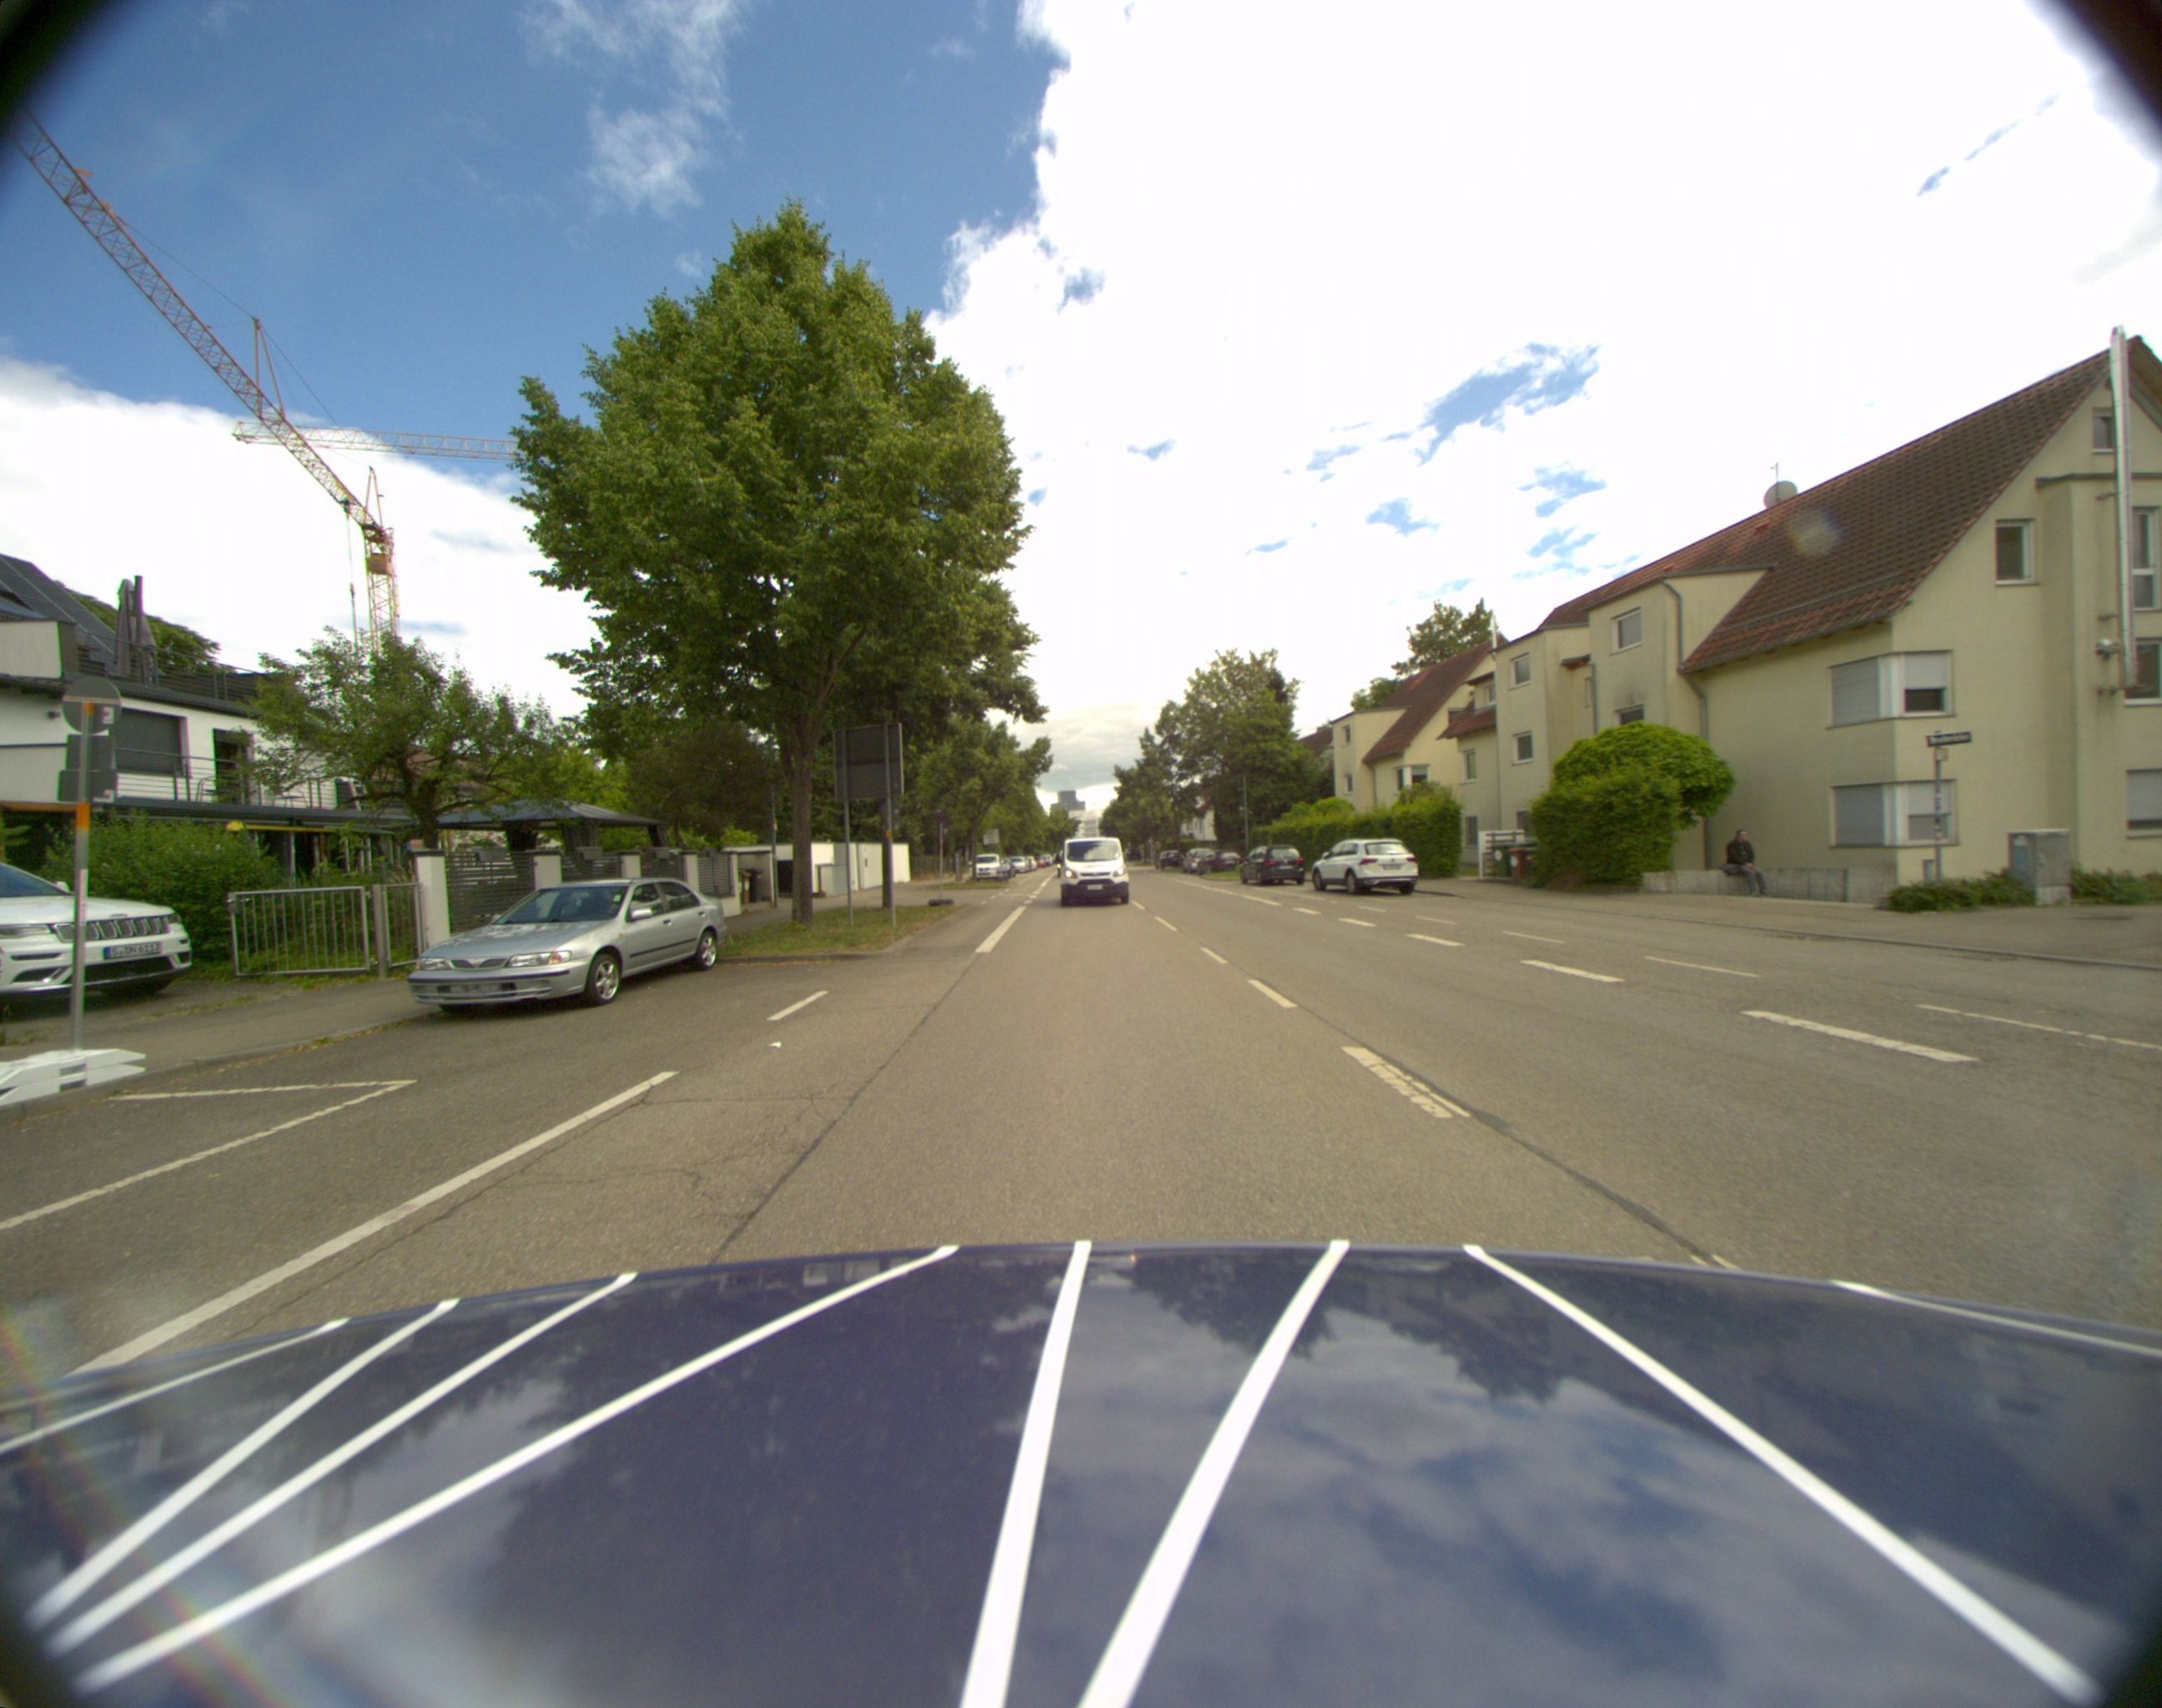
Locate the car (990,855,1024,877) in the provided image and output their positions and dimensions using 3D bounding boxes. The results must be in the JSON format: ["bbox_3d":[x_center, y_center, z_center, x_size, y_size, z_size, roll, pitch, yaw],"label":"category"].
[{"bbox_3d":[-5.334,0.828,55.237,1.868,1.408,4.602,-2,0,2],"label":"car"}]

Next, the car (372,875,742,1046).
[{"bbox_3d":[-6.086,1.098,9.616,1.616,1.369,4.385,-2,2,-1],"label":"car"}]

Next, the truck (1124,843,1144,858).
[{"bbox_3d":[7.776,-0.552,112.319,2.429,2.031,5.994,-2,1,1],"label":"truck"}]

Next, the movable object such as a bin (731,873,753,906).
[{"bbox_3d":[-9.781,1.017,21.924,0.437,0.915,0.395,-2,1,0],"label":"movable object such as a bin"}]

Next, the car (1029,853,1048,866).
[{"bbox_3d":[-5.176,0.701,92.543,1.864,1.405,4.443,-4,0,2],"label":"car"}]

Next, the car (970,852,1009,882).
[{"bbox_3d":[-5.581,0.758,46.671,1.905,1.633,4.115,-2,1,-1],"label":"car"}]

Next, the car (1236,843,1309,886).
[{"bbox_3d":[7.606,0.393,30.607,1.681,1.543,4.271,-2,1,-2],"label":"car"}]

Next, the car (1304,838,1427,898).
[{"bbox_3d":[8.651,0.366,23.558,1.826,1.624,4.584,-2,0,-4],"label":"car"}]

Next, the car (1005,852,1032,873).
[{"bbox_3d":[-5.350,0.682,65.904,1.866,1.602,4.685,-4,1,0],"label":"car"}]

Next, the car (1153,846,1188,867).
[{"bbox_3d":[7.354,0.174,62.788,2.101,1.637,5.037,-1,0,-3],"label":"car"}]

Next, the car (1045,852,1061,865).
[{"bbox_3d":[-4.394,0.634,120.172,1.998,1.805,4.826,-3,1,2],"label":"car"}]

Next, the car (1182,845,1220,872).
[{"bbox_3d":[7.682,0.271,48.837,1.723,1.604,3.909,-2,1,-1],"label":"car"}]

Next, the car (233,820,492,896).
[{"bbox_3d":[-20.904,0.080,22.357,5.200,1.893,2.047,-3,2,-8],"label":"car"}]

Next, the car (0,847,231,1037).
[{"bbox_3d":[-12.315,0.911,8.117,3.998,1.812,1.999,-2,1,-3],"label":"car"}]

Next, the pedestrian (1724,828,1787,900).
[{"bbox_3d":[15.164,0.217,17.102,0.672,1.551,0.836,-2,1,4],"label":"pedestrian"}]

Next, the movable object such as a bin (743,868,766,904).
[{"bbox_3d":[-9.674,0.948,22.496,0.437,1.016,0.454,-2,1,0],"label":"movable object such as a bin"}]

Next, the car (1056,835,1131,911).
[{"bbox_3d":[0.422,0.492,23.700,1.998,2.002,5.188,-3,1,2],"label":"car"}]

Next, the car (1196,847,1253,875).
[{"bbox_3d":[8.054,0.371,43.210,1.999,1.476,4.888,-1,1,-4],"label":"car"}]

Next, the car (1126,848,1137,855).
[{"bbox_3d":[9.827,-0.540,148.521,1.750,1.400,4.927,-1,1,1],"label":"car"}]

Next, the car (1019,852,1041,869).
[{"bbox_3d":[-5.137,0.645,77.404,1.772,1.502,4.030,-2,1,2],"label":"car"}]

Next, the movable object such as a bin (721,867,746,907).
[{"bbox_3d":[-9.773,0.930,21.390,0.437,1.103,0.454,-2,1,0],"label":"movable object such as a bin"}]
